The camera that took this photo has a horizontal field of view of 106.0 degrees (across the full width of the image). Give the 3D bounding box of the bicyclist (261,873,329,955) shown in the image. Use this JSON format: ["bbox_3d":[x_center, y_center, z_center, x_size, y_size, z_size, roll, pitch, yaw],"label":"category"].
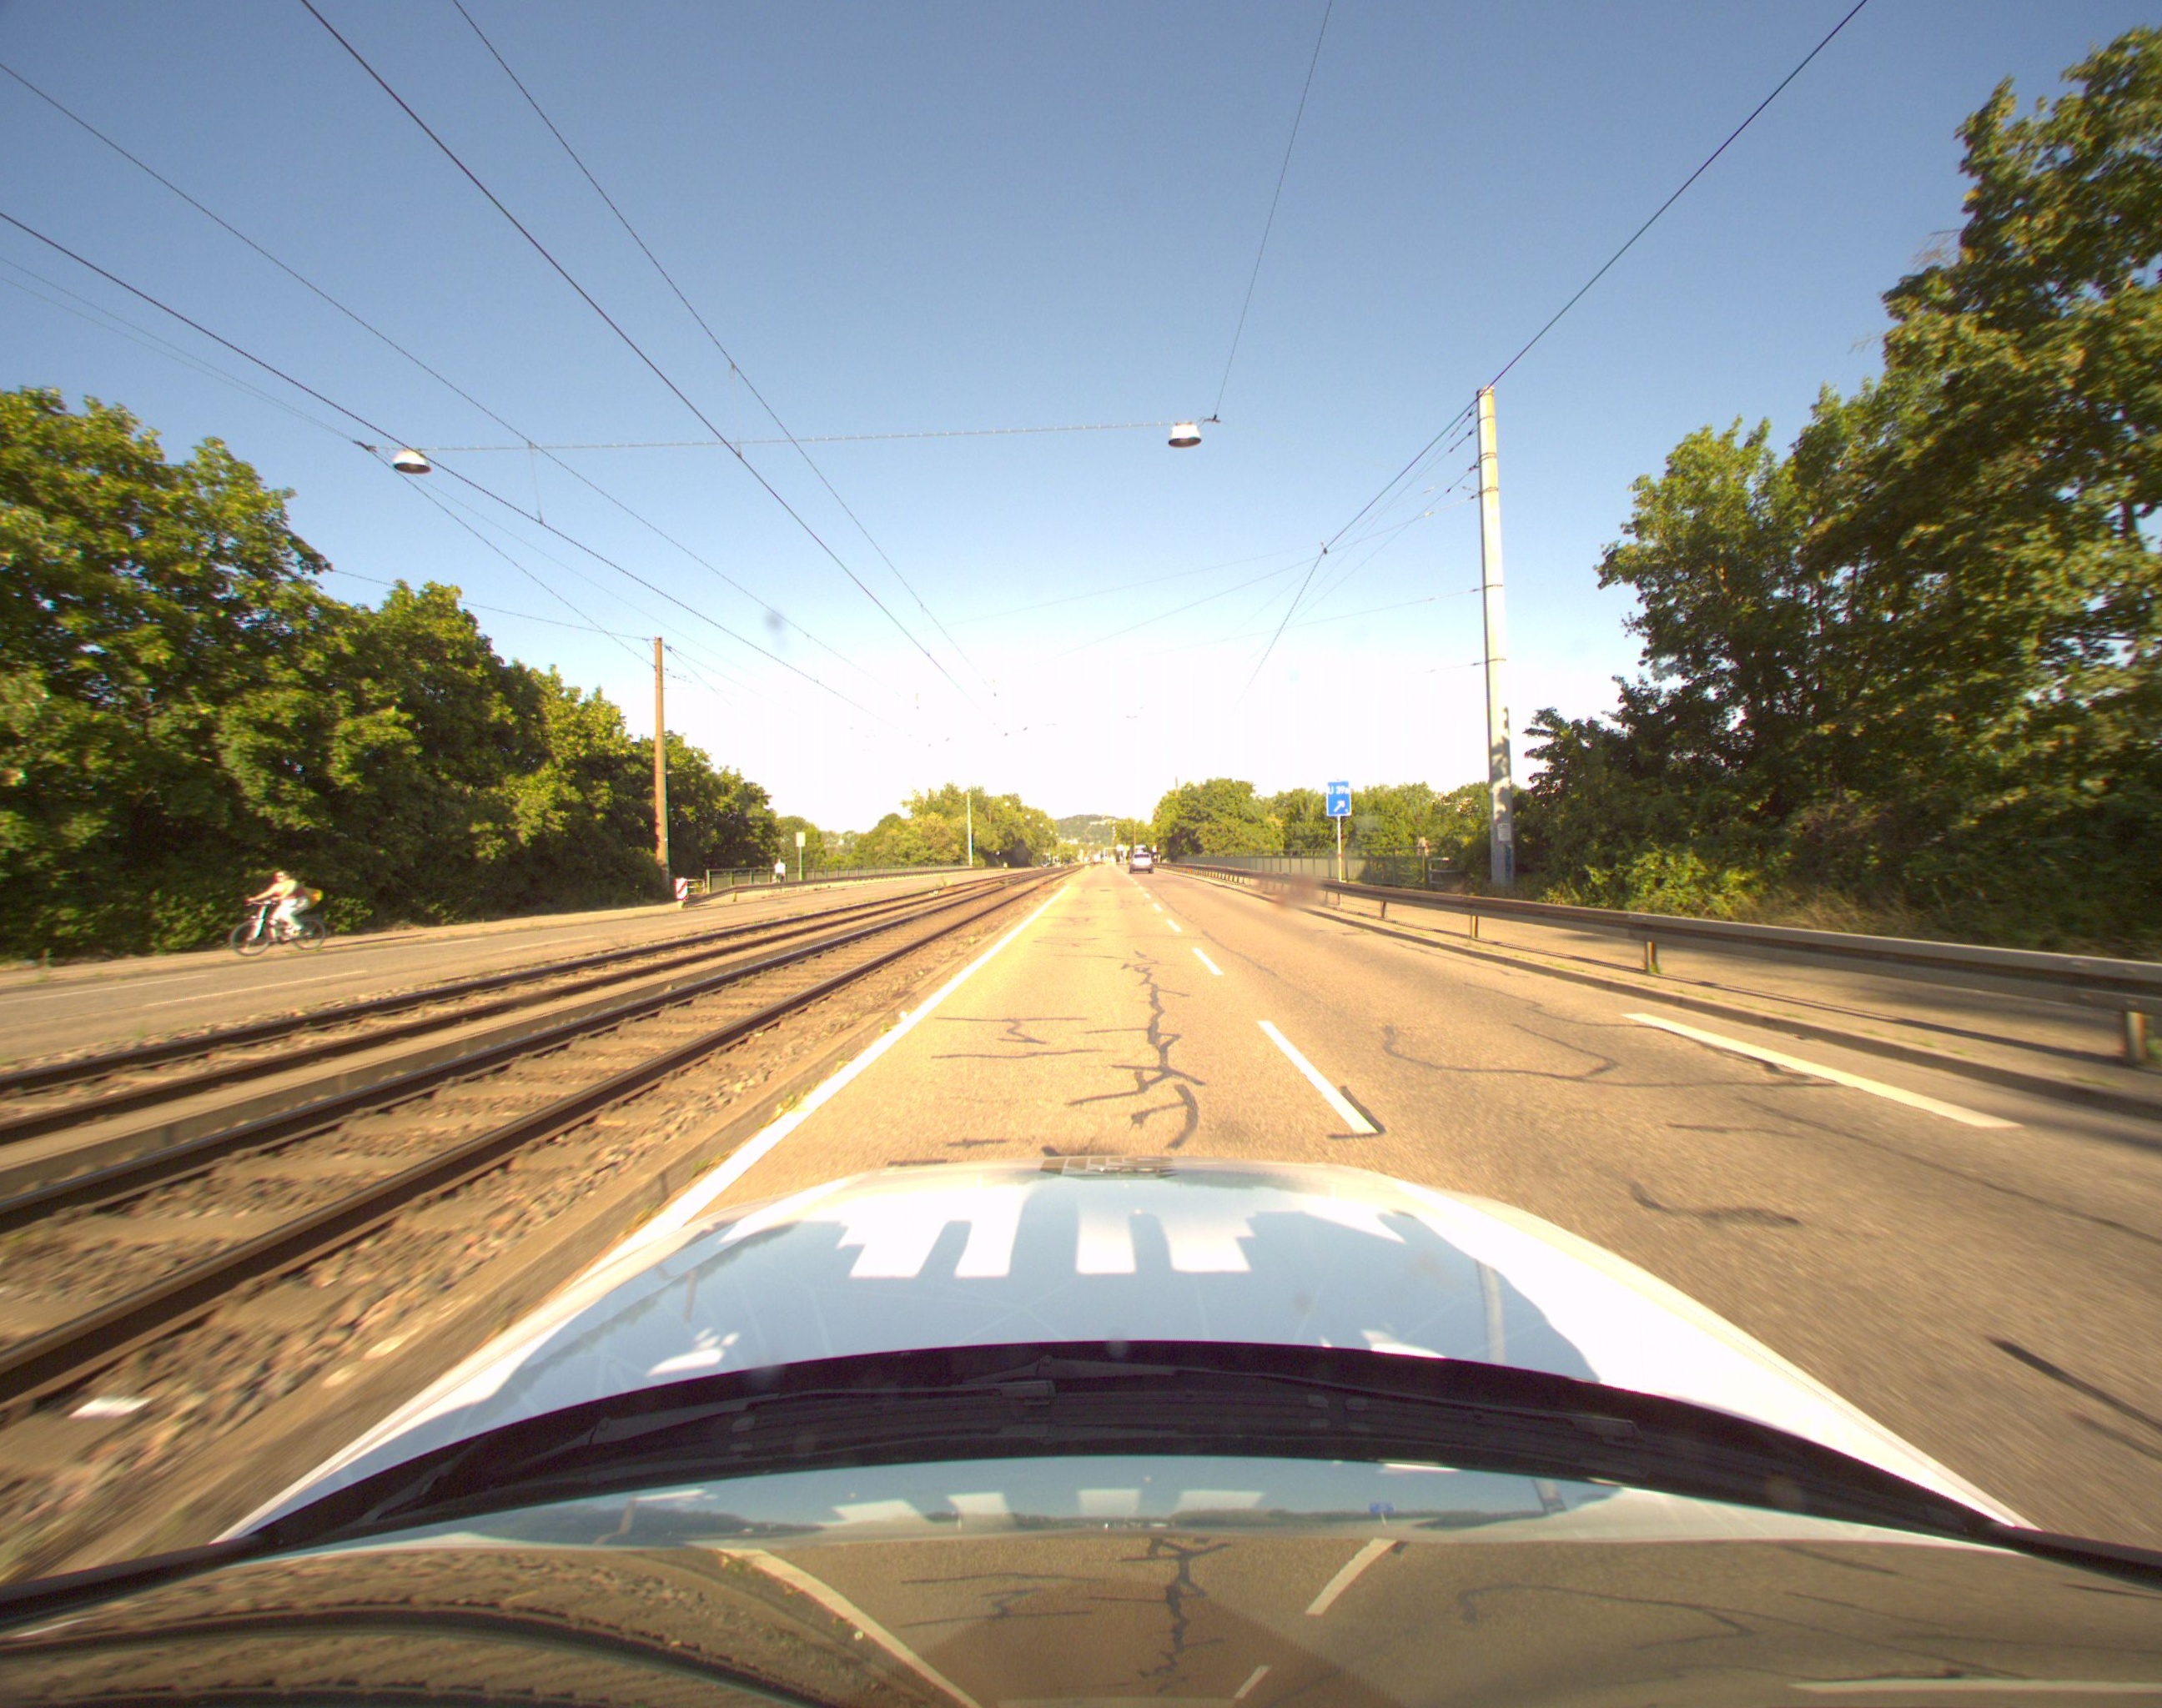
[{"bbox_3d":[-16.861,1.259,17.487,0.505,1.687,0.920,0,-1,5],"label":"bicyclist"}]

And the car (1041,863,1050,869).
[{"bbox_3d":[-9.033,3.053,208.830,1.986,1.618,4.001,0,0,1],"label":"car"}]

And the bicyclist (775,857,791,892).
[{"bbox_3d":[-16.228,1.121,44.324,0.538,1.862,0.875,0,-1,1],"label":"bicyclist"}]

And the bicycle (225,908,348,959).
[{"bbox_3d":[-16.873,1.667,17.364,0.505,0.892,2.030,0,0,5],"label":"bicycle"}]

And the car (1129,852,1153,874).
[{"bbox_3d":[4.949,0.737,66.790,1.880,1.693,4.261,-1,0,4],"label":"car"}]

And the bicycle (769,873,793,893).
[{"bbox_3d":[-16.234,1.564,44.118,0.538,1.043,1.926,0,0,2],"label":"bicycle"}]
